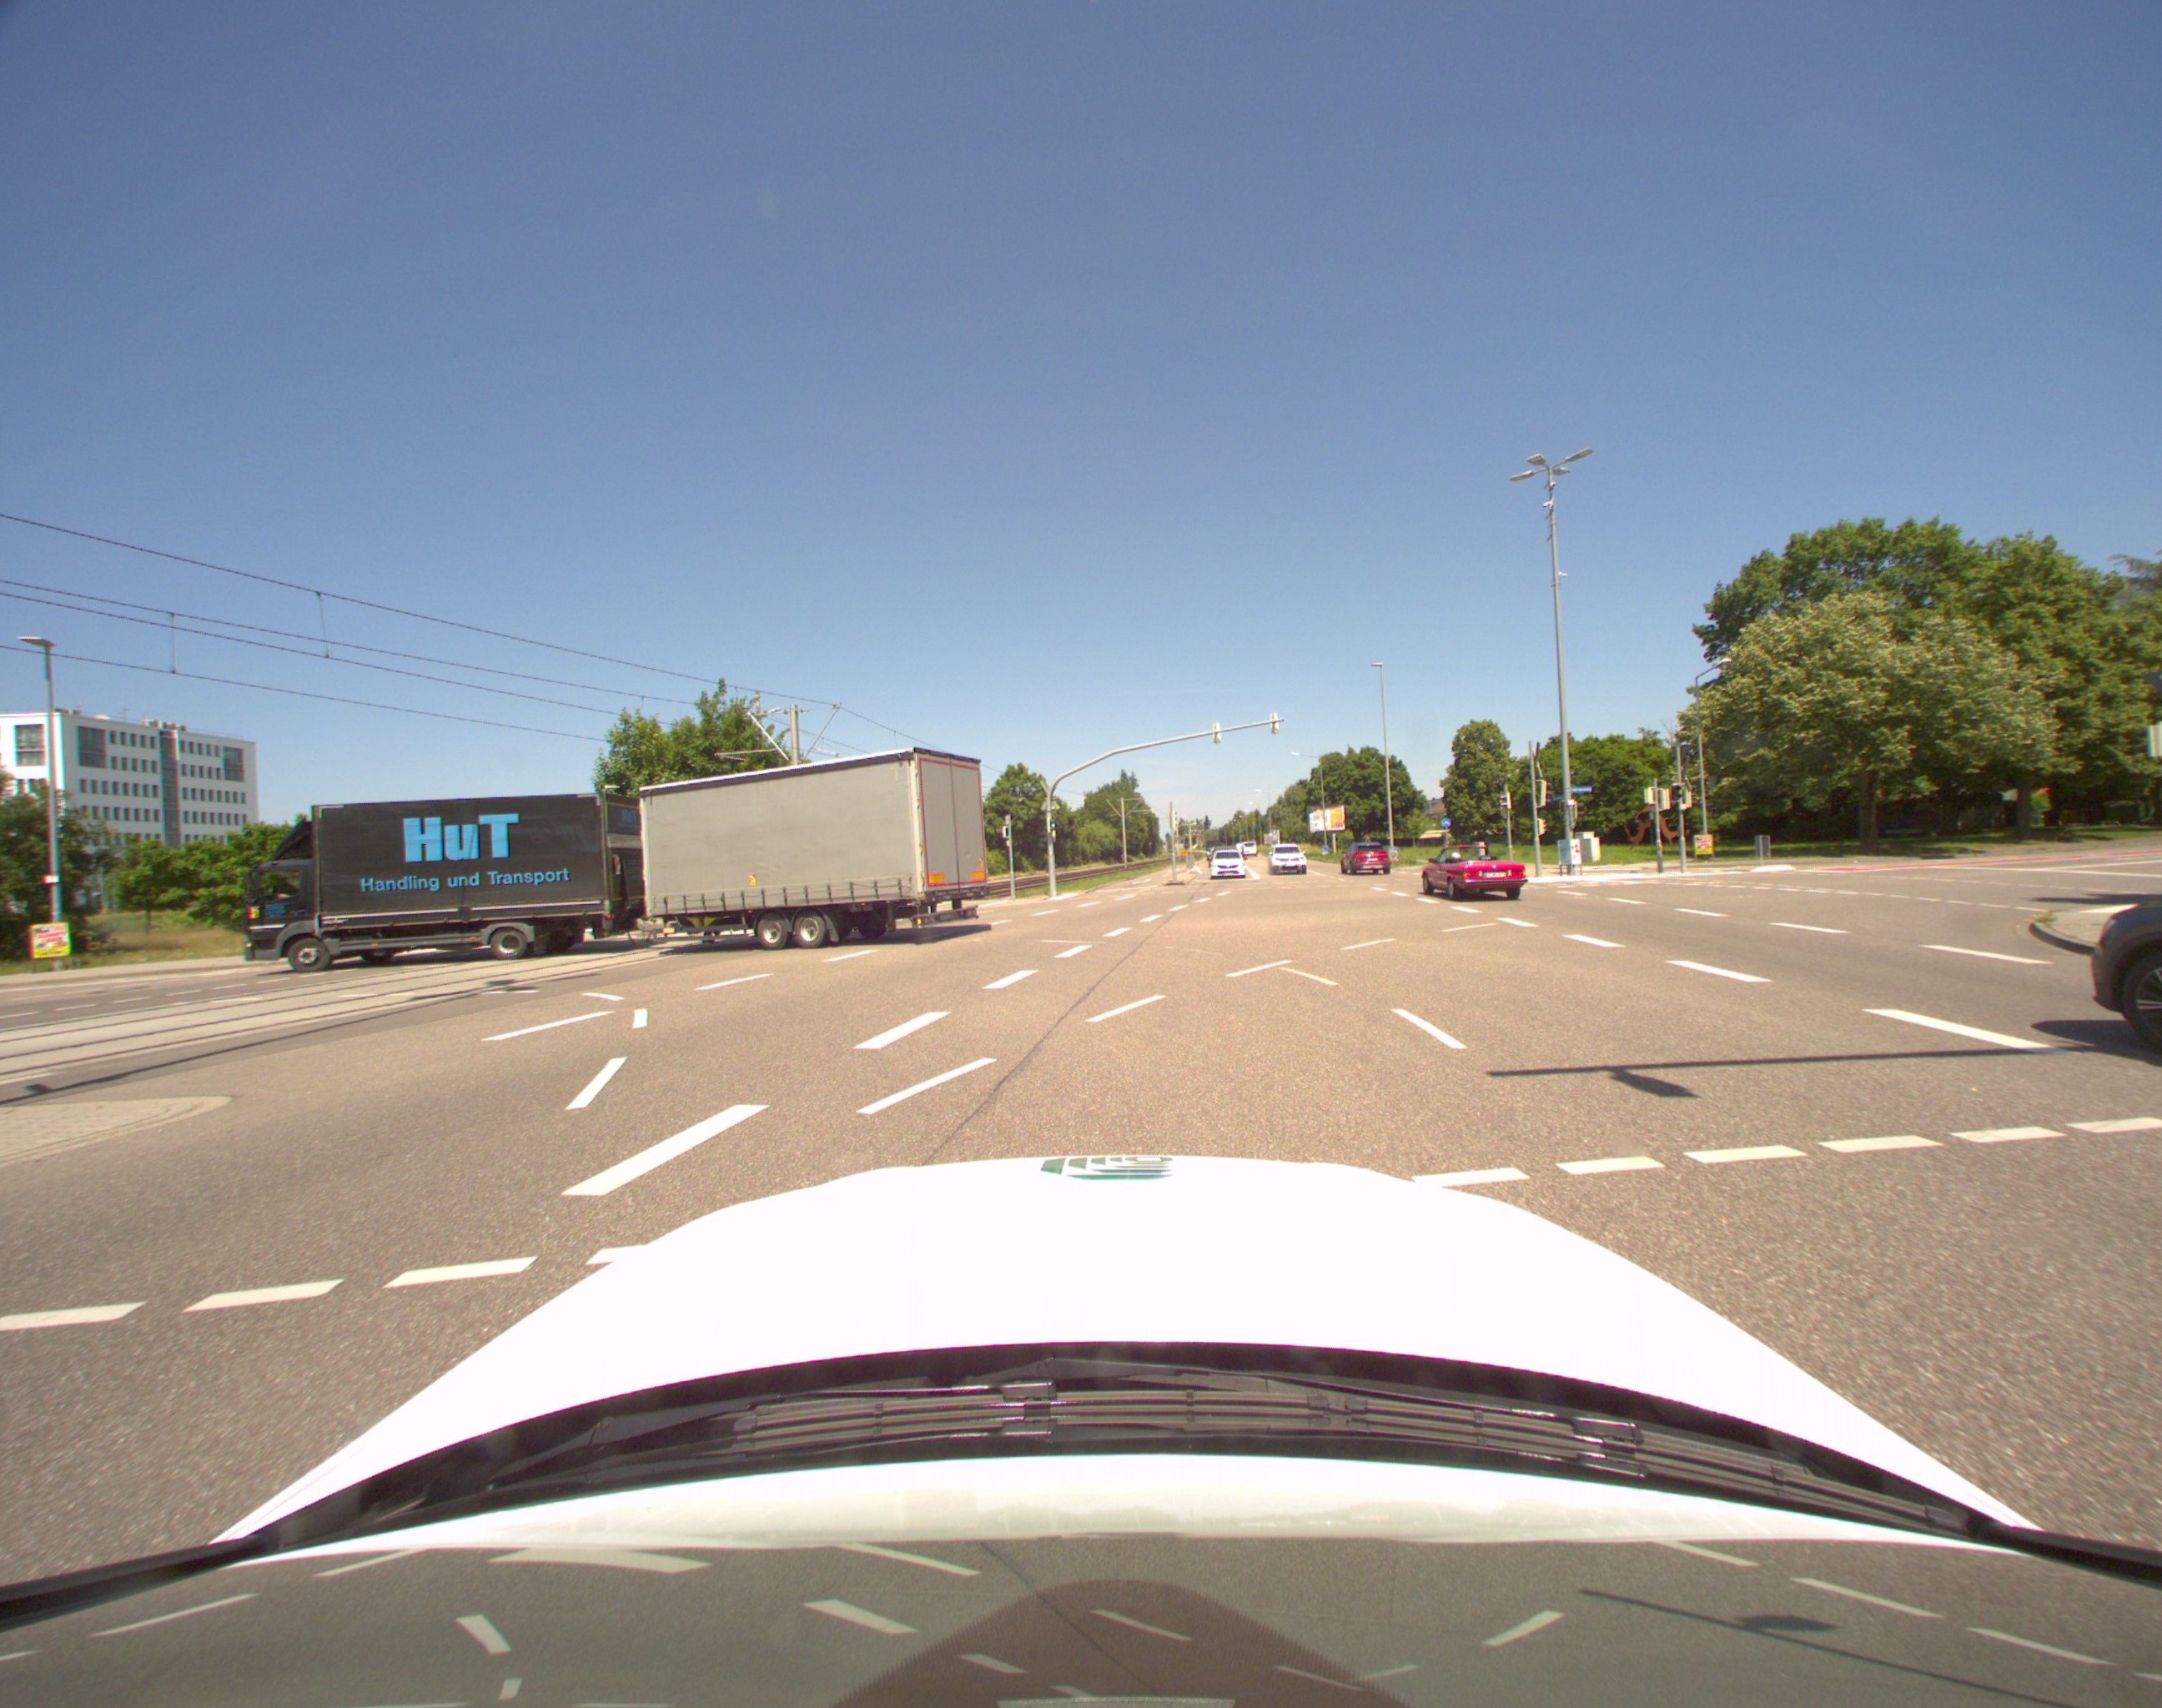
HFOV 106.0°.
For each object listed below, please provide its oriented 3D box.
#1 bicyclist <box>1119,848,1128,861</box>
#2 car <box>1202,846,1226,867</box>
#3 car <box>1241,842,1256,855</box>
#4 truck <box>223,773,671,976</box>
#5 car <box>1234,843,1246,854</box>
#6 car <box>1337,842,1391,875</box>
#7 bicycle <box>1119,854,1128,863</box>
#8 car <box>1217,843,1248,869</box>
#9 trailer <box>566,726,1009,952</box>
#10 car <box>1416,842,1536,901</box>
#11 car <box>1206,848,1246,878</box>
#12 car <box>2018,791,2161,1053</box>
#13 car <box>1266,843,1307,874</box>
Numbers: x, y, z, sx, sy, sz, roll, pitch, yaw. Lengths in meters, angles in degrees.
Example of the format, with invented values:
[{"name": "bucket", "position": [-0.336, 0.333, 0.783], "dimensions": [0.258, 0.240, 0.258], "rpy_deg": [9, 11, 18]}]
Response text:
[{"name": "bicyclist", "position": [6.859, 0.118, 132.002], "dimensions": [1.064, 2.013, 1.189], "rpy_deg": [-6, -1, 10]}, {"name": "car", "position": [10.742, 0.197, 65.406], "dimensions": [1.714, 1.576, 4.425], "rpy_deg": [-2, 0, 11]}, {"name": "car", "position": [22.484, -0.713, 109.293], "dimensions": [1.757, 1.755, 4.010], "rpy_deg": [-1, 0, 9]}, {"name": "truck", "position": [-14.790, 0.434, 19.677], "dimensions": [7.923, 4.070, 3.080], "rpy_deg": [-3, -1, -6]}, {"name": "car", "position": [25.899, -0.834, 132.736], "dimensions": [1.757, 1.755, 4.010], "rpy_deg": [-1, 0, 9]}, {"name": "car", "position": [13.959, 0.197, 40.341], "dimensions": [1.831, 1.459, 4.425], "rpy_deg": [-3, 0, 11]}, {"name": "bicycle", "position": [6.919, 0.731, 131.988], "dimensions": [1.054, 1.345, 2.704], "rpy_deg": [-6, 0, 10]}, {"name": "car", "position": [9.762, 0.112, 52.390], "dimensions": [1.857, 1.576, 4.425], "rpy_deg": [-2, 0, 11]}, {"name": "trailer", "position": [-6.784, -0.080, 18.424], "dimensions": [9.689, 4.069, 3.105], "rpy_deg": [-4, -1, 23]}, {"name": "car", "position": [10.221, 0.399, 21.425], "dimensions": [1.749, 1.348, 4.325], "rpy_deg": [-2, 1, 11]}, {"name": "car", "position": [7.462, 0.414, 41.747], "dimensions": [1.857, 1.389, 4.425], "rpy_deg": [-3, 0, 11]}, {"name": "car", "position": [7.426, 0.411, 3.723], "dimensions": [1.715, 1.658, 4.421], "rpy_deg": [-2, 0, 10]}, {"name": "car", "position": [11.066, 0.217, 44.080], "dimensions": [1.857, 1.576, 4.425], "rpy_deg": [-2, 0, 11]}]
